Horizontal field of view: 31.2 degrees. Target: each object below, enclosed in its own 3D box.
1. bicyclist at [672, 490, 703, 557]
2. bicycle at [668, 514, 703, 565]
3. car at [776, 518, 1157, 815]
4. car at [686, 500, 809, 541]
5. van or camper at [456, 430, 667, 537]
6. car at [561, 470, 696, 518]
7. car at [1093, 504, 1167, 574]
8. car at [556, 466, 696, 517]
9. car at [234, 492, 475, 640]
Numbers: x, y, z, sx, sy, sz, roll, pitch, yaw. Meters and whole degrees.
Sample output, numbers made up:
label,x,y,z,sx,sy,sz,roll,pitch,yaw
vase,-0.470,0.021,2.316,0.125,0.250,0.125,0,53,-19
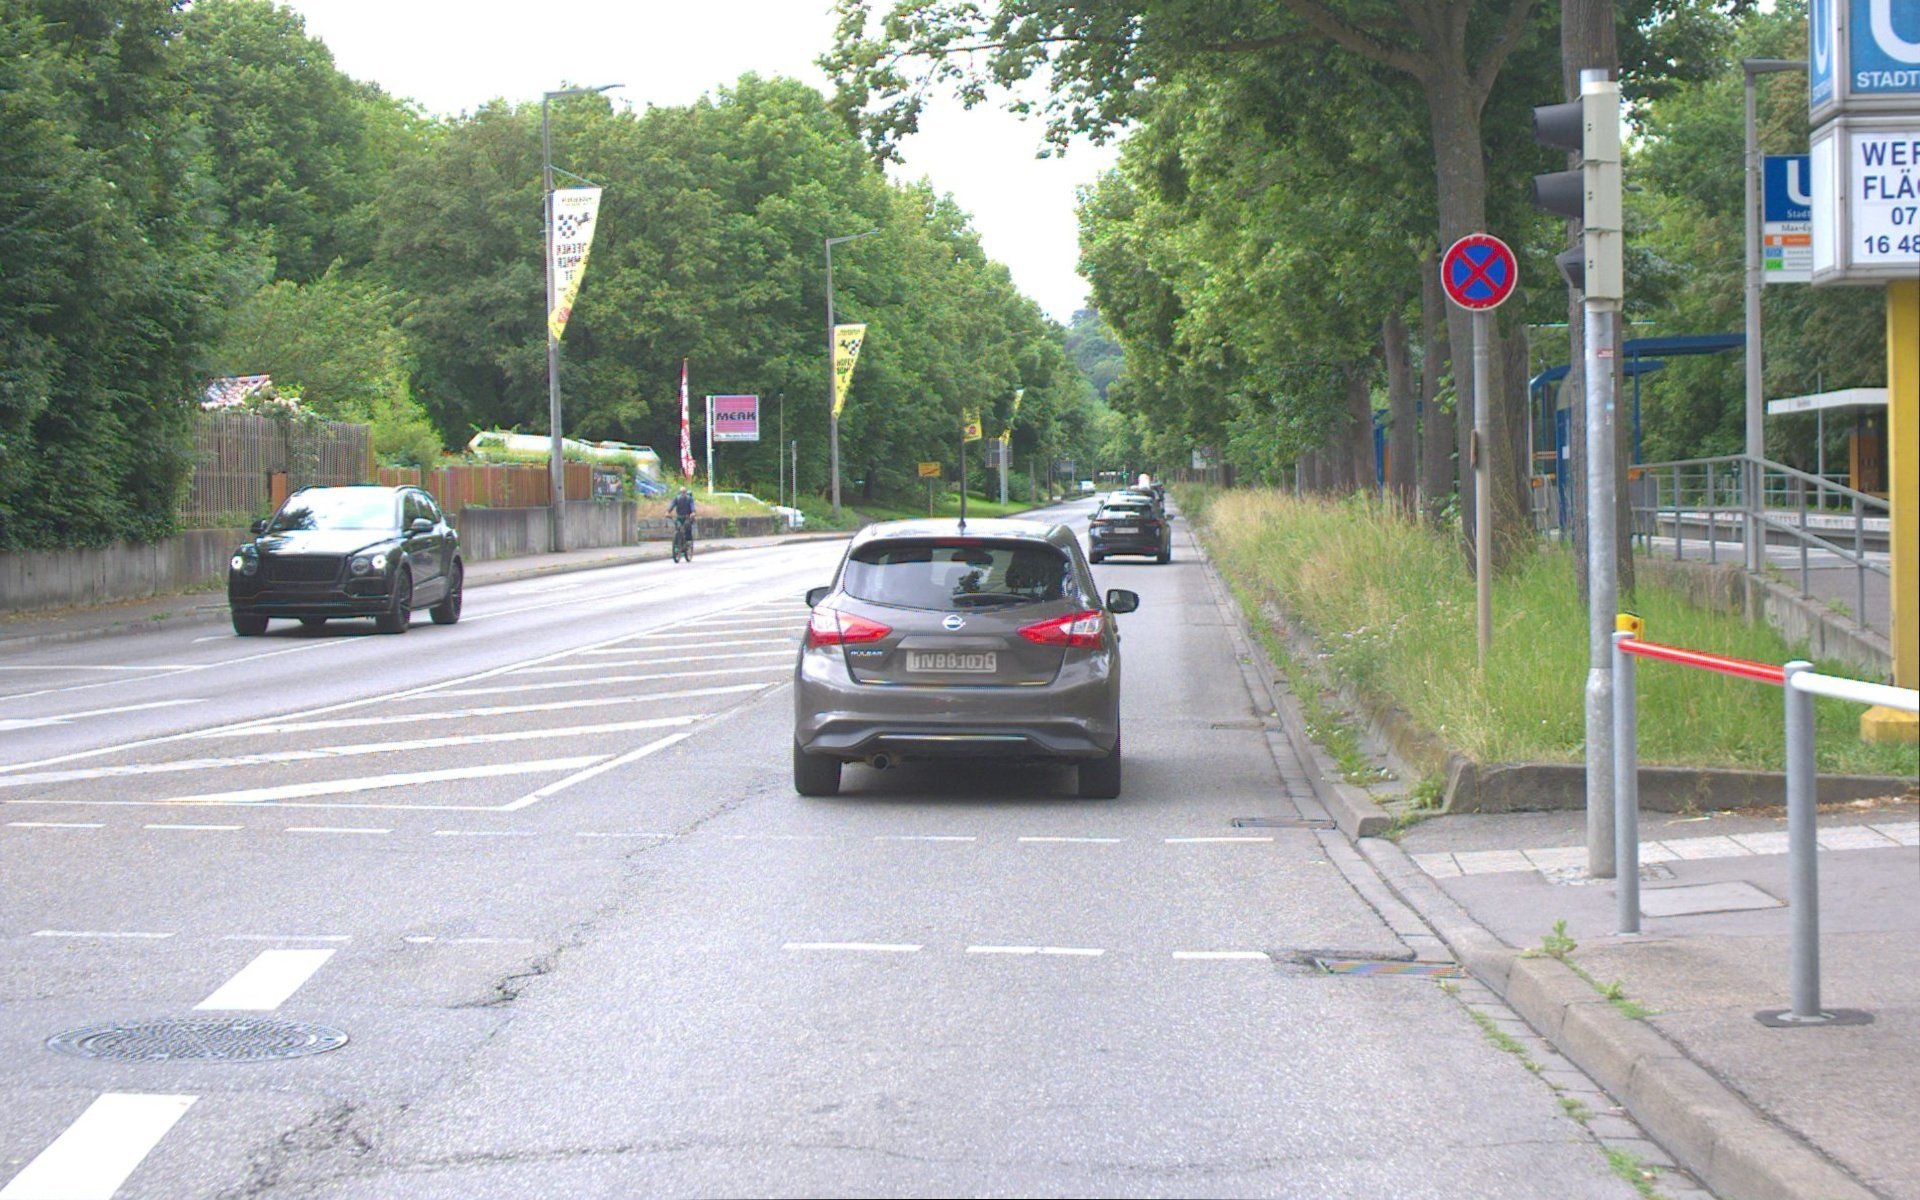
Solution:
label,x,y,z,sx,sy,sz,roll,pitch,yaw
bicyclist,-6.304,-1.778,79.595,0.642,1.529,0.979,1,2,-1
bicycle,-6.349,-1.408,79.659,0.642,1.141,2.148,1,2,-1
car,0.142,0.297,19.787,1.837,1.523,3.928,0,1,5
car,-7.830,-2.954,127.171,4.375,1.436,1.961,1,2,1
van or camper,-14.723,-4.322,127.419,7.142,3.359,2.796,5,2,4
car,-10.504,-3.352,108.983,3.988,1.406,1.533,1,1,8
car,3.872,-1.390,78.029,1.503,1.523,3.671,1,1,5
car,-10.392,-3.367,107.101,3.988,1.492,1.859,1,1,8
car,-7.267,-0.444,41.733,1.902,1.673,5.081,0,1,1
